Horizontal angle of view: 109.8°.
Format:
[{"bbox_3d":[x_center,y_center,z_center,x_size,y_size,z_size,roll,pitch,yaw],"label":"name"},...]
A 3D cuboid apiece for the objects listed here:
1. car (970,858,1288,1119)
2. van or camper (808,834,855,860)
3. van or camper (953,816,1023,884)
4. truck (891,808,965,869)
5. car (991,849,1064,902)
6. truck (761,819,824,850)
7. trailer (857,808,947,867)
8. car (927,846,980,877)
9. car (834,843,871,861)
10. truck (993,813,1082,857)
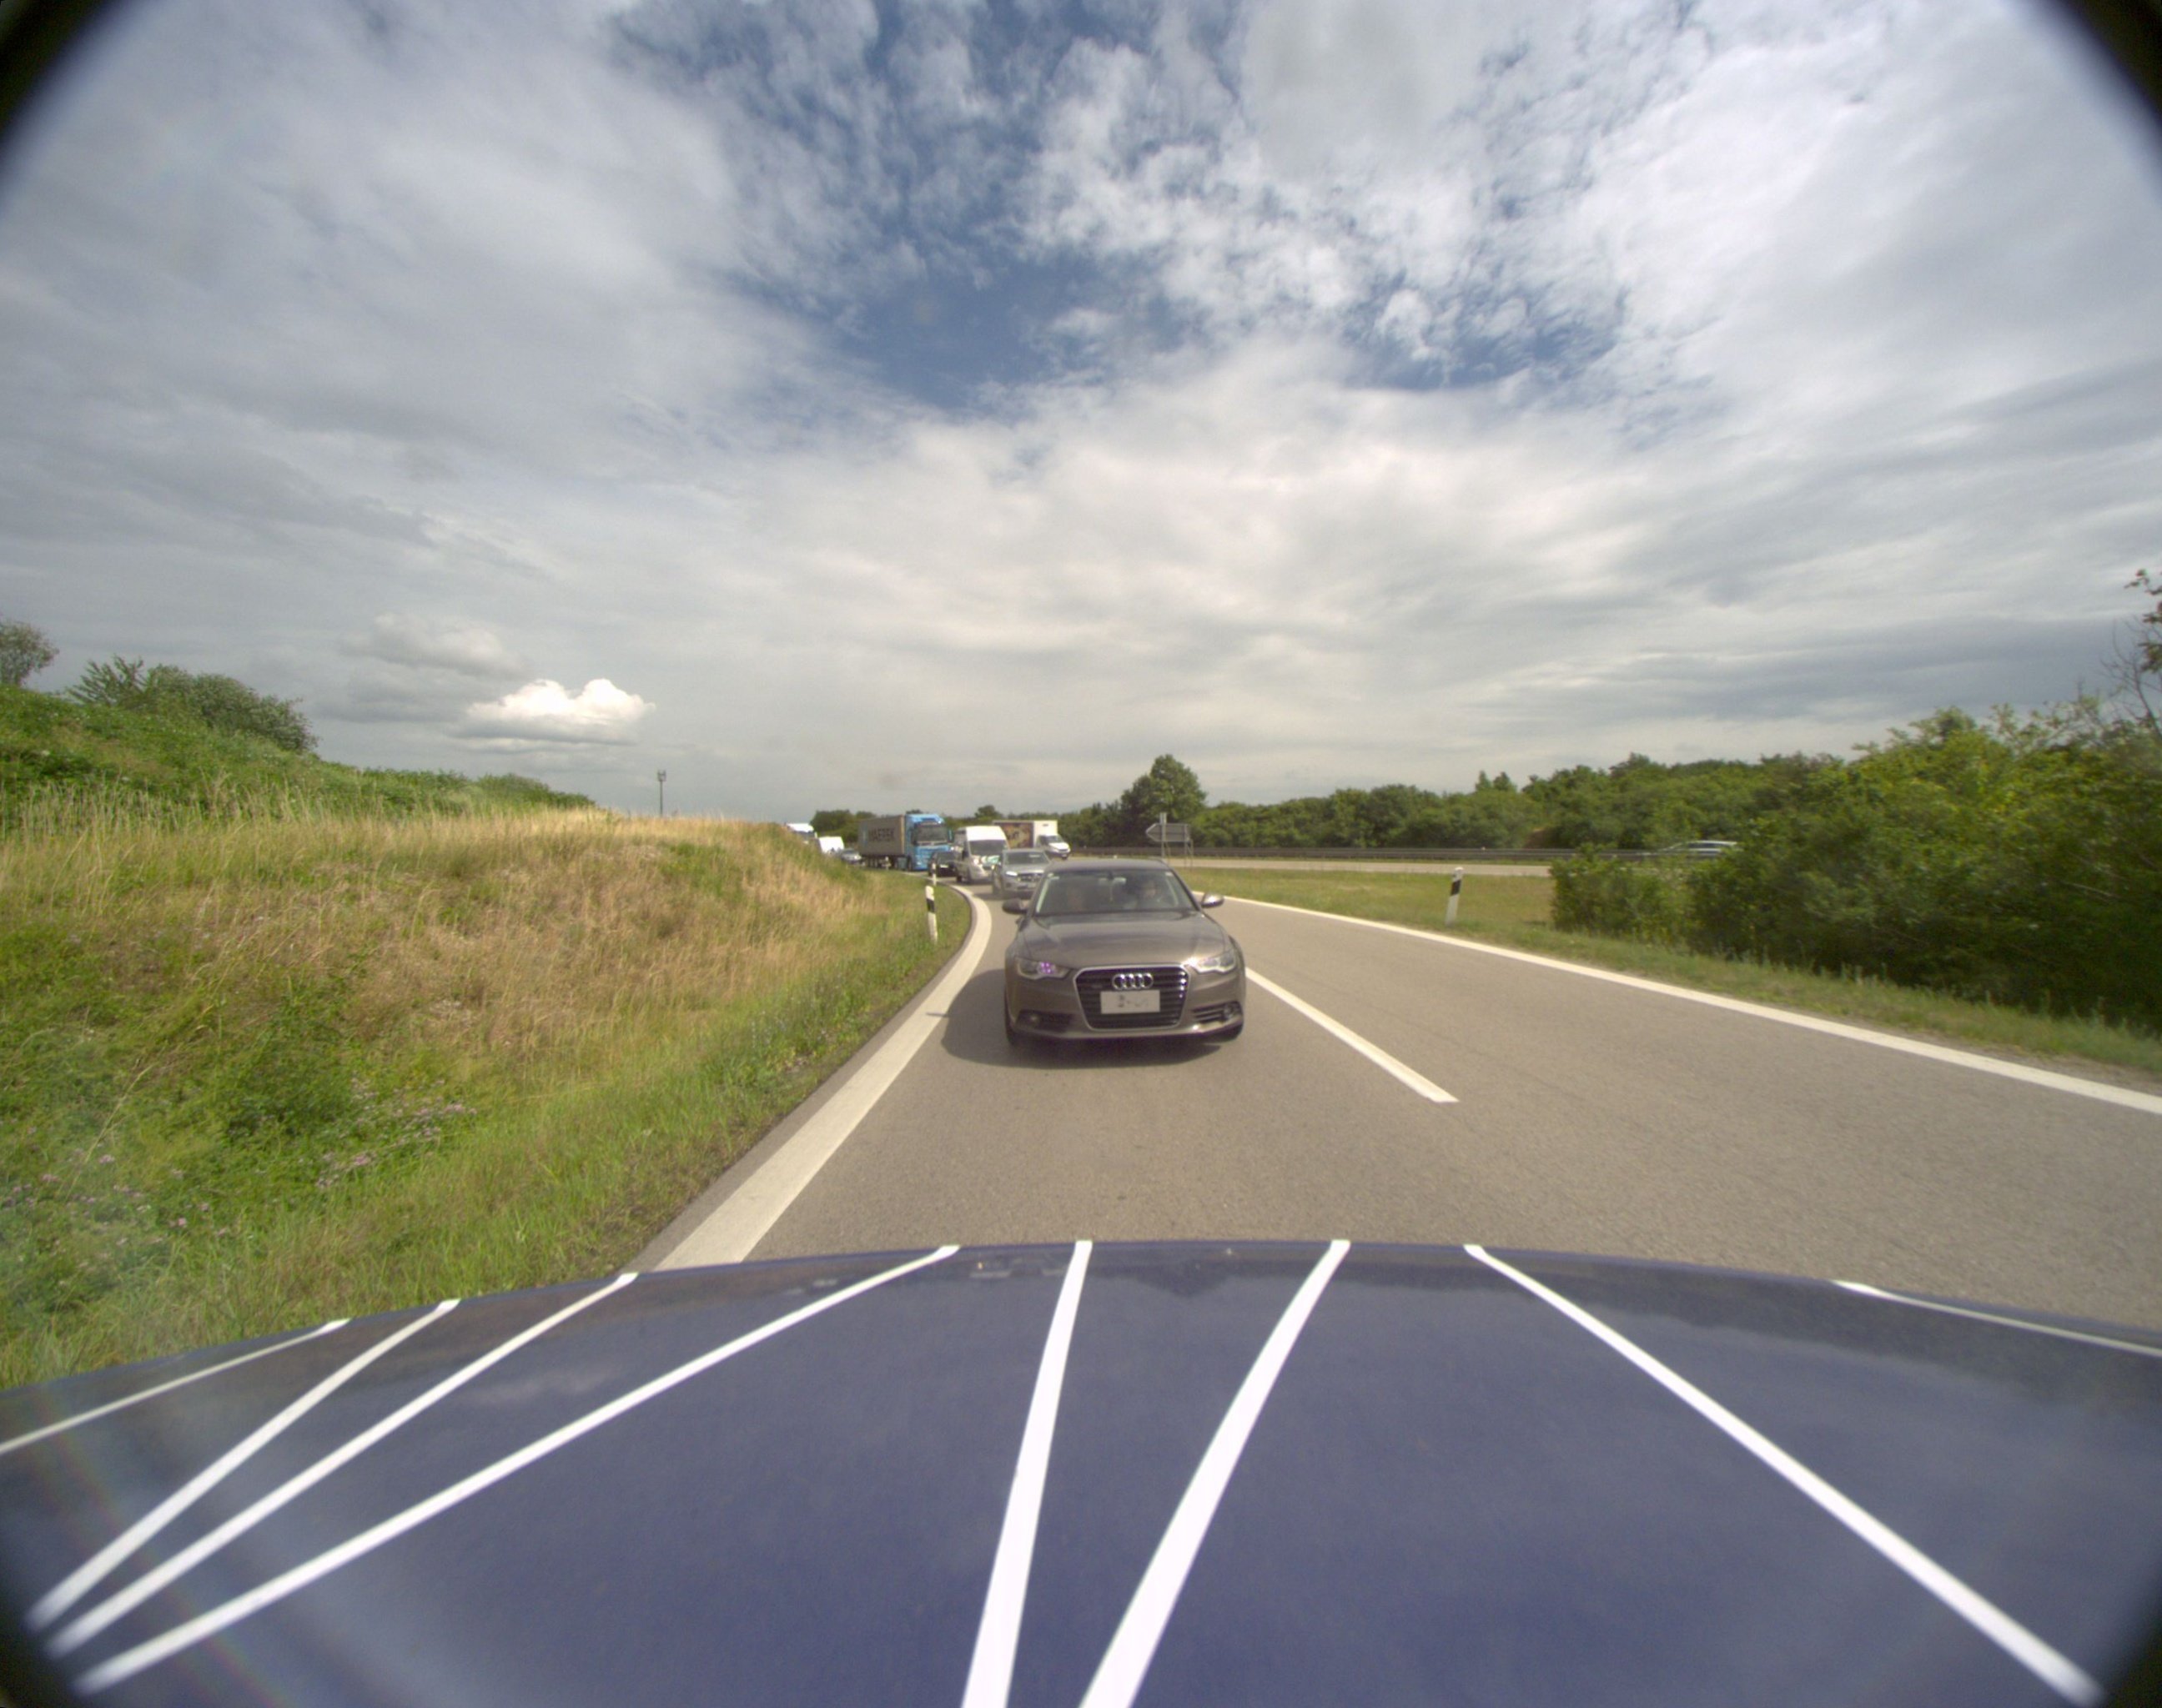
[{"bbox_3d":[0.191,0.862,7.116,1.999,1.506,4.536,-2,1,-3],"label":"car"},{"bbox_3d":[-24.646,-0.775,74.801,2.558,2.200,5.692,-4,6,-38],"label":"van or camper"},{"bbox_3d":[-4.527,-0.203,36.083,2.401,2.892,5.712,-3,1,-15],"label":"van or camper"},{"bbox_3d":[-11.007,-1.066,53.999,3.184,4.050,6.631,-3,1,-28],"label":"truck"},{"bbox_3d":[-1.884,0.648,25.561,1.844,1.587,4.168,-1,1,-12],"label":"car"},{"bbox_3d":[-33.026,-2.158,86.671,3.131,3.221,11.128,-3,2,-40],"label":"truck"},{"bbox_3d":[-14.374,-1.206,59.843,3.281,4.138,11.988,-3,1,-31],"label":"trailer"},{"bbox_3d":[-7.441,0.393,43.978,2.002,1.609,3.991,-2,2,-25],"label":"car"},{"bbox_3d":[-20.996,-0.205,69.816,2.003,1.521,3.988,-3,3,-36],"label":"car"},{"bbox_3d":[-3.973,-1.652,66.853,2.898,3.567,8.920,-3,3,-40],"label":"truck"}]
